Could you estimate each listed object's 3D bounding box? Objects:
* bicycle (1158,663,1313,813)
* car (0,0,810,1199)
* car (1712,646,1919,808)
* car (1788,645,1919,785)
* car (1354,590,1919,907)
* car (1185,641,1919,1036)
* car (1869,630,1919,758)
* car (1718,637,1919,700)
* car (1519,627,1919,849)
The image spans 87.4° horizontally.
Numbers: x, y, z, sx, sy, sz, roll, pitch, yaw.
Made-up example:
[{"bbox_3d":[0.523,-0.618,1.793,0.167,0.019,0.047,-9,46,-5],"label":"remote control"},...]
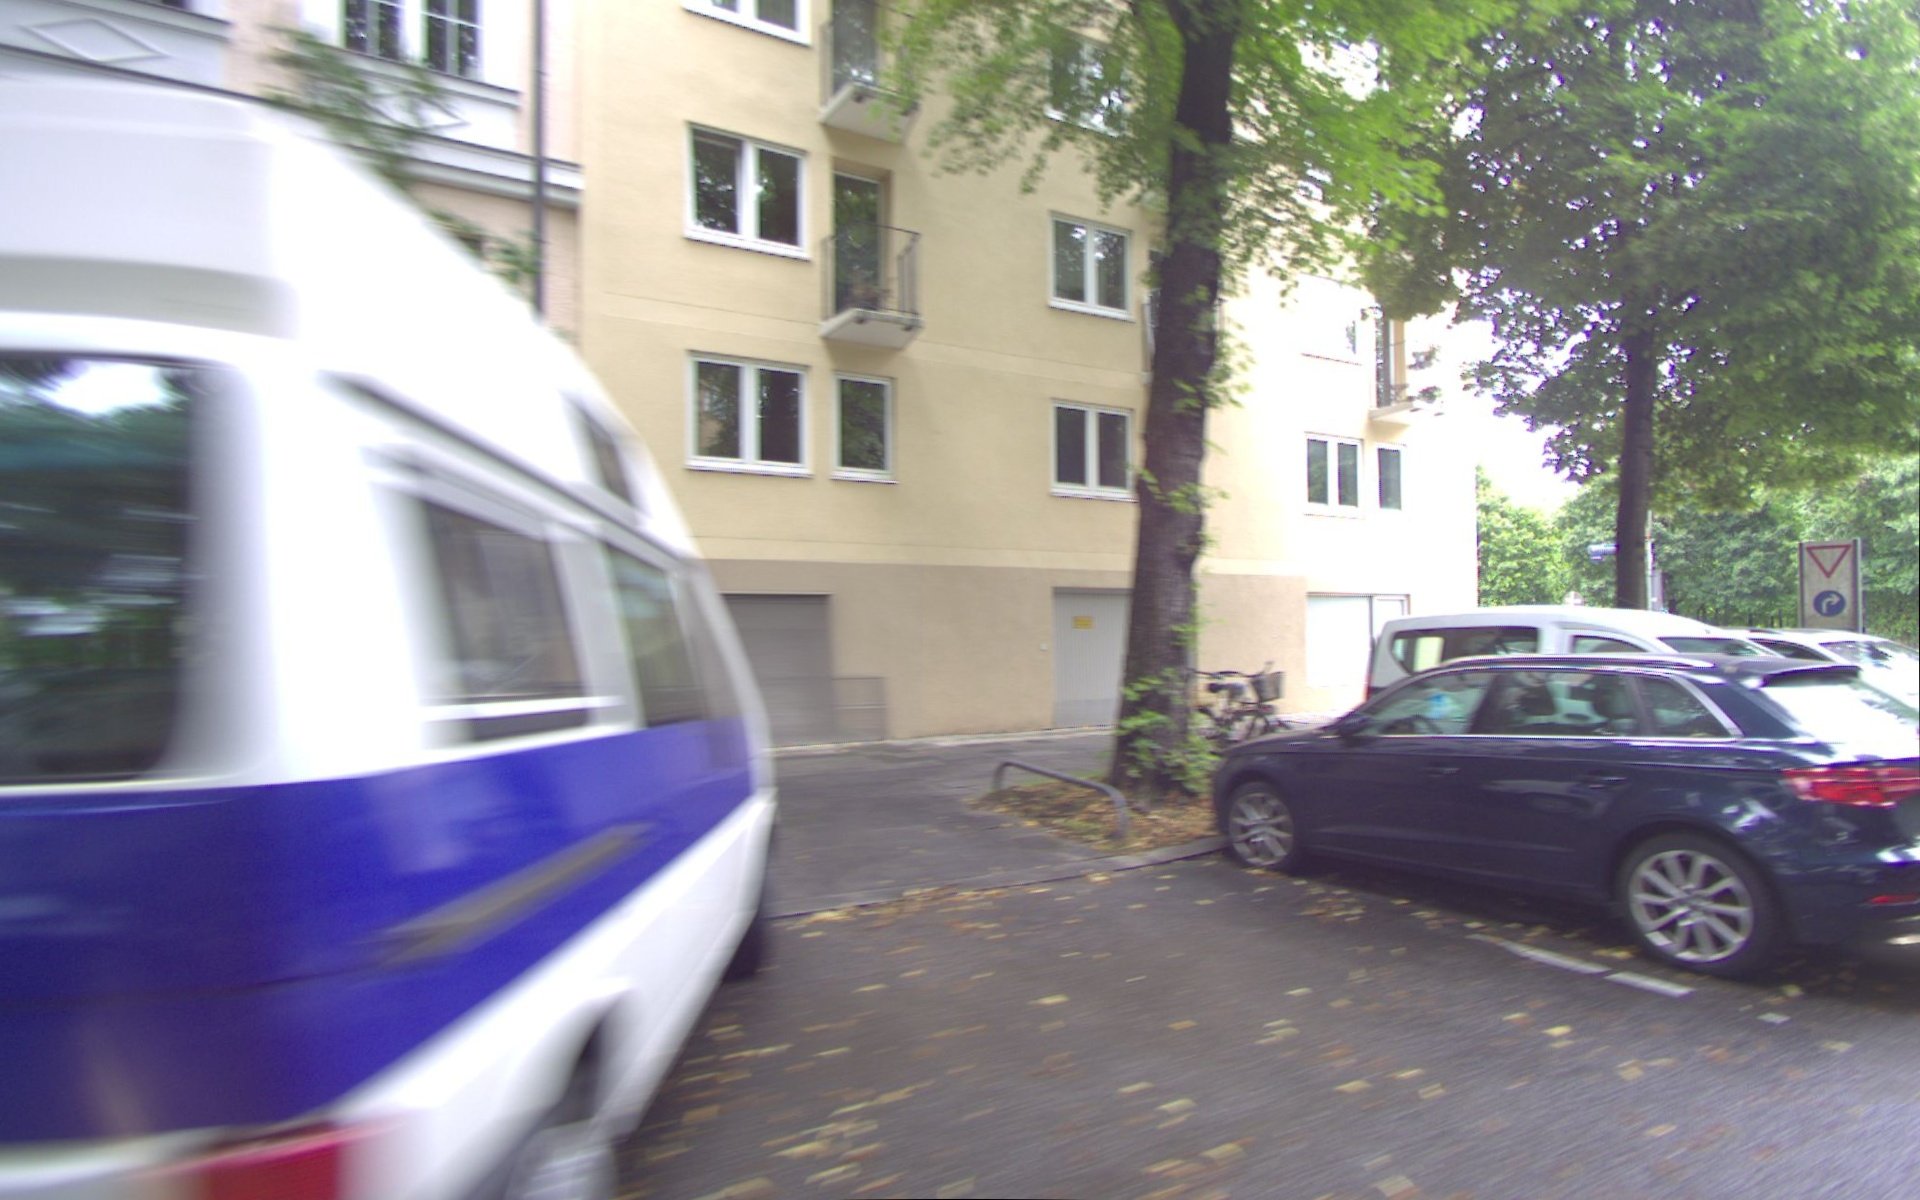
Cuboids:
[{"bbox_3d":[2.586,1.257,9.619,0.482,1.252,1.675,1,-2,-24],"label":"bicycle"},{"bbox_3d":[-1.658,0.442,3.273,1.868,2.408,4.583,0,-3,-3],"label":"car"},{"bbox_3d":[9.647,1.166,9.355,1.719,1.459,3.863,1,-3,-29],"label":"car"},{"bbox_3d":[11.542,1.222,10.579,1.714,1.483,3.972,0,-3,-28],"label":"car"},{"bbox_3d":[5.360,0.924,7.671,1.823,1.754,4.302,1,-3,-25],"label":"car"},{"bbox_3d":[3.312,0.991,5.913,1.714,1.452,3.972,1,-3,-28],"label":"car"},{"bbox_3d":[13.908,1.144,12.003,1.714,1.622,4.147,-1,-2,-28],"label":"car"},{"bbox_3d":[21.430,1.613,24.587,1.743,1.398,4.344,1,-3,-19],"label":"car"},{"bbox_3d":[7.425,1.046,8.621,1.809,1.617,4.439,1,-2,-23],"label":"car"}]
